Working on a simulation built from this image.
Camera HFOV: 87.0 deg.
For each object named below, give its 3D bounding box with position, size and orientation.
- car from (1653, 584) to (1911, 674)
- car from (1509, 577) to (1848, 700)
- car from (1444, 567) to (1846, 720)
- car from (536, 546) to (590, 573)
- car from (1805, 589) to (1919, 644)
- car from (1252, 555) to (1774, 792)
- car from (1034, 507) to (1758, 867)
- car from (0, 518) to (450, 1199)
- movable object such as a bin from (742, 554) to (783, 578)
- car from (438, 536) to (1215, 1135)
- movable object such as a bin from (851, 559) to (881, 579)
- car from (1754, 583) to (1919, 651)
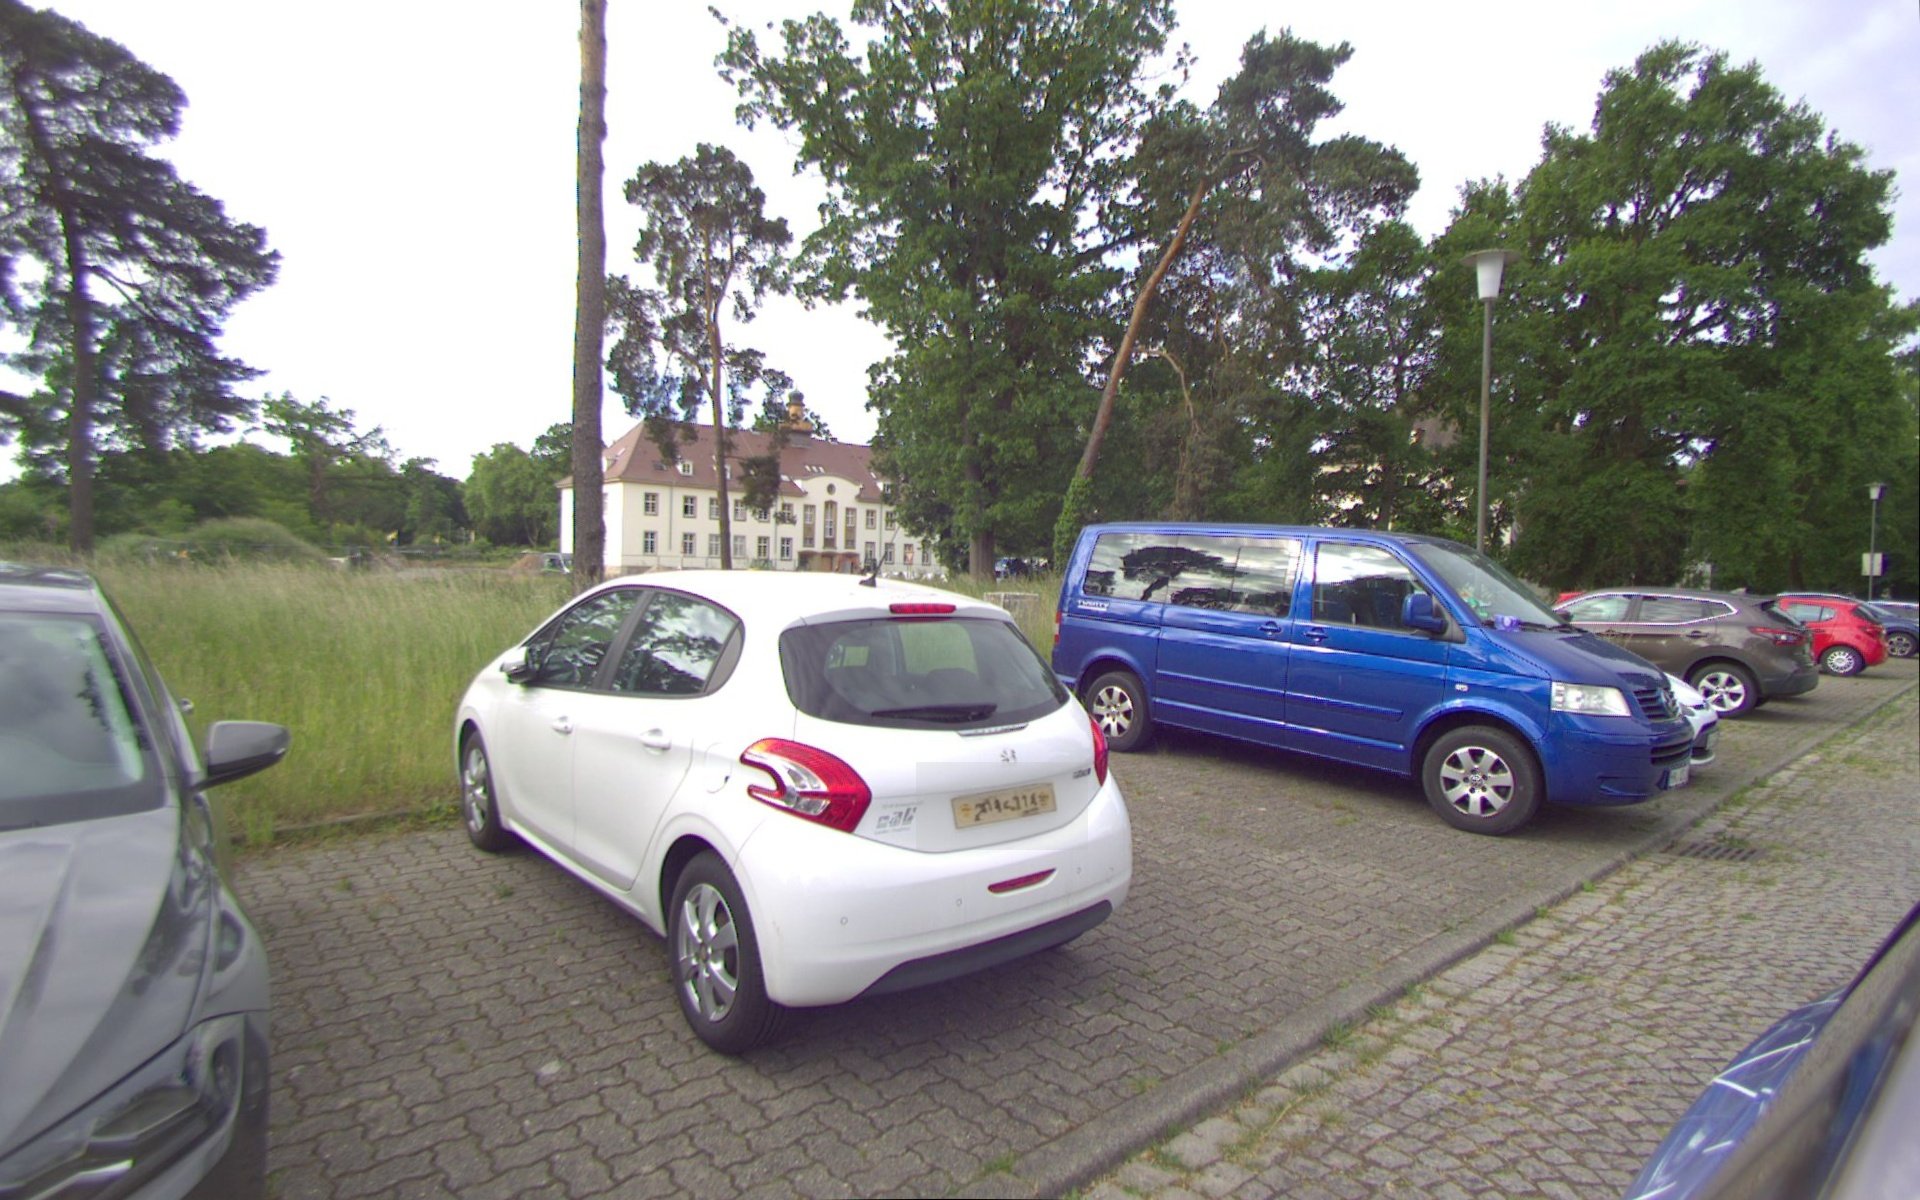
[{"bbox_3d":[16.790,0.520,20.826,1.555,1.477,3.891,0,3,-42],"label":"car"},{"bbox_3d":[11.179,0.498,15.973,1.735,1.503,4.015,0,3,-41],"label":"car"},{"bbox_3d":[9.306,0.464,14.043,1.791,1.618,4.267,0,3,-42],"label":"car"},{"bbox_3d":[-36.866,-3.758,93.927,5.847,2.268,2.283,5,3,42],"label":"car"},{"bbox_3d":[27.969,0.519,30.286,1.555,1.443,3.874,0,3,-42],"label":"car"},{"bbox_3d":[5.019,0.491,9.583,1.810,1.489,3.871,0,6,-42],"label":"car"},{"bbox_3d":[3.044,0.321,8.016,1.969,1.969,4.816,0,4,-42],"label":"car"},{"bbox_3d":[-2.692,0.560,2.386,1.727,1.490,3.871,0,4,-41],"label":"car"},{"bbox_3d":[-17.455,-3.027,89.493,3.181,2.038,1.682,1,2,-34],"label":"movable object such as a bin"},{"bbox_3d":[-0.983,0.535,4.694,1.727,1.490,3.872,0,4,-40],"label":"car"},{"bbox_3d":[-10.304,-3.394,111.400,2.933,2.038,1.553,0,2,-41],"label":"movable object such as a bin"},{"bbox_3d":[24.349,0.445,27.472,1.555,1.556,4.147,0,3,-42],"label":"car"}]
